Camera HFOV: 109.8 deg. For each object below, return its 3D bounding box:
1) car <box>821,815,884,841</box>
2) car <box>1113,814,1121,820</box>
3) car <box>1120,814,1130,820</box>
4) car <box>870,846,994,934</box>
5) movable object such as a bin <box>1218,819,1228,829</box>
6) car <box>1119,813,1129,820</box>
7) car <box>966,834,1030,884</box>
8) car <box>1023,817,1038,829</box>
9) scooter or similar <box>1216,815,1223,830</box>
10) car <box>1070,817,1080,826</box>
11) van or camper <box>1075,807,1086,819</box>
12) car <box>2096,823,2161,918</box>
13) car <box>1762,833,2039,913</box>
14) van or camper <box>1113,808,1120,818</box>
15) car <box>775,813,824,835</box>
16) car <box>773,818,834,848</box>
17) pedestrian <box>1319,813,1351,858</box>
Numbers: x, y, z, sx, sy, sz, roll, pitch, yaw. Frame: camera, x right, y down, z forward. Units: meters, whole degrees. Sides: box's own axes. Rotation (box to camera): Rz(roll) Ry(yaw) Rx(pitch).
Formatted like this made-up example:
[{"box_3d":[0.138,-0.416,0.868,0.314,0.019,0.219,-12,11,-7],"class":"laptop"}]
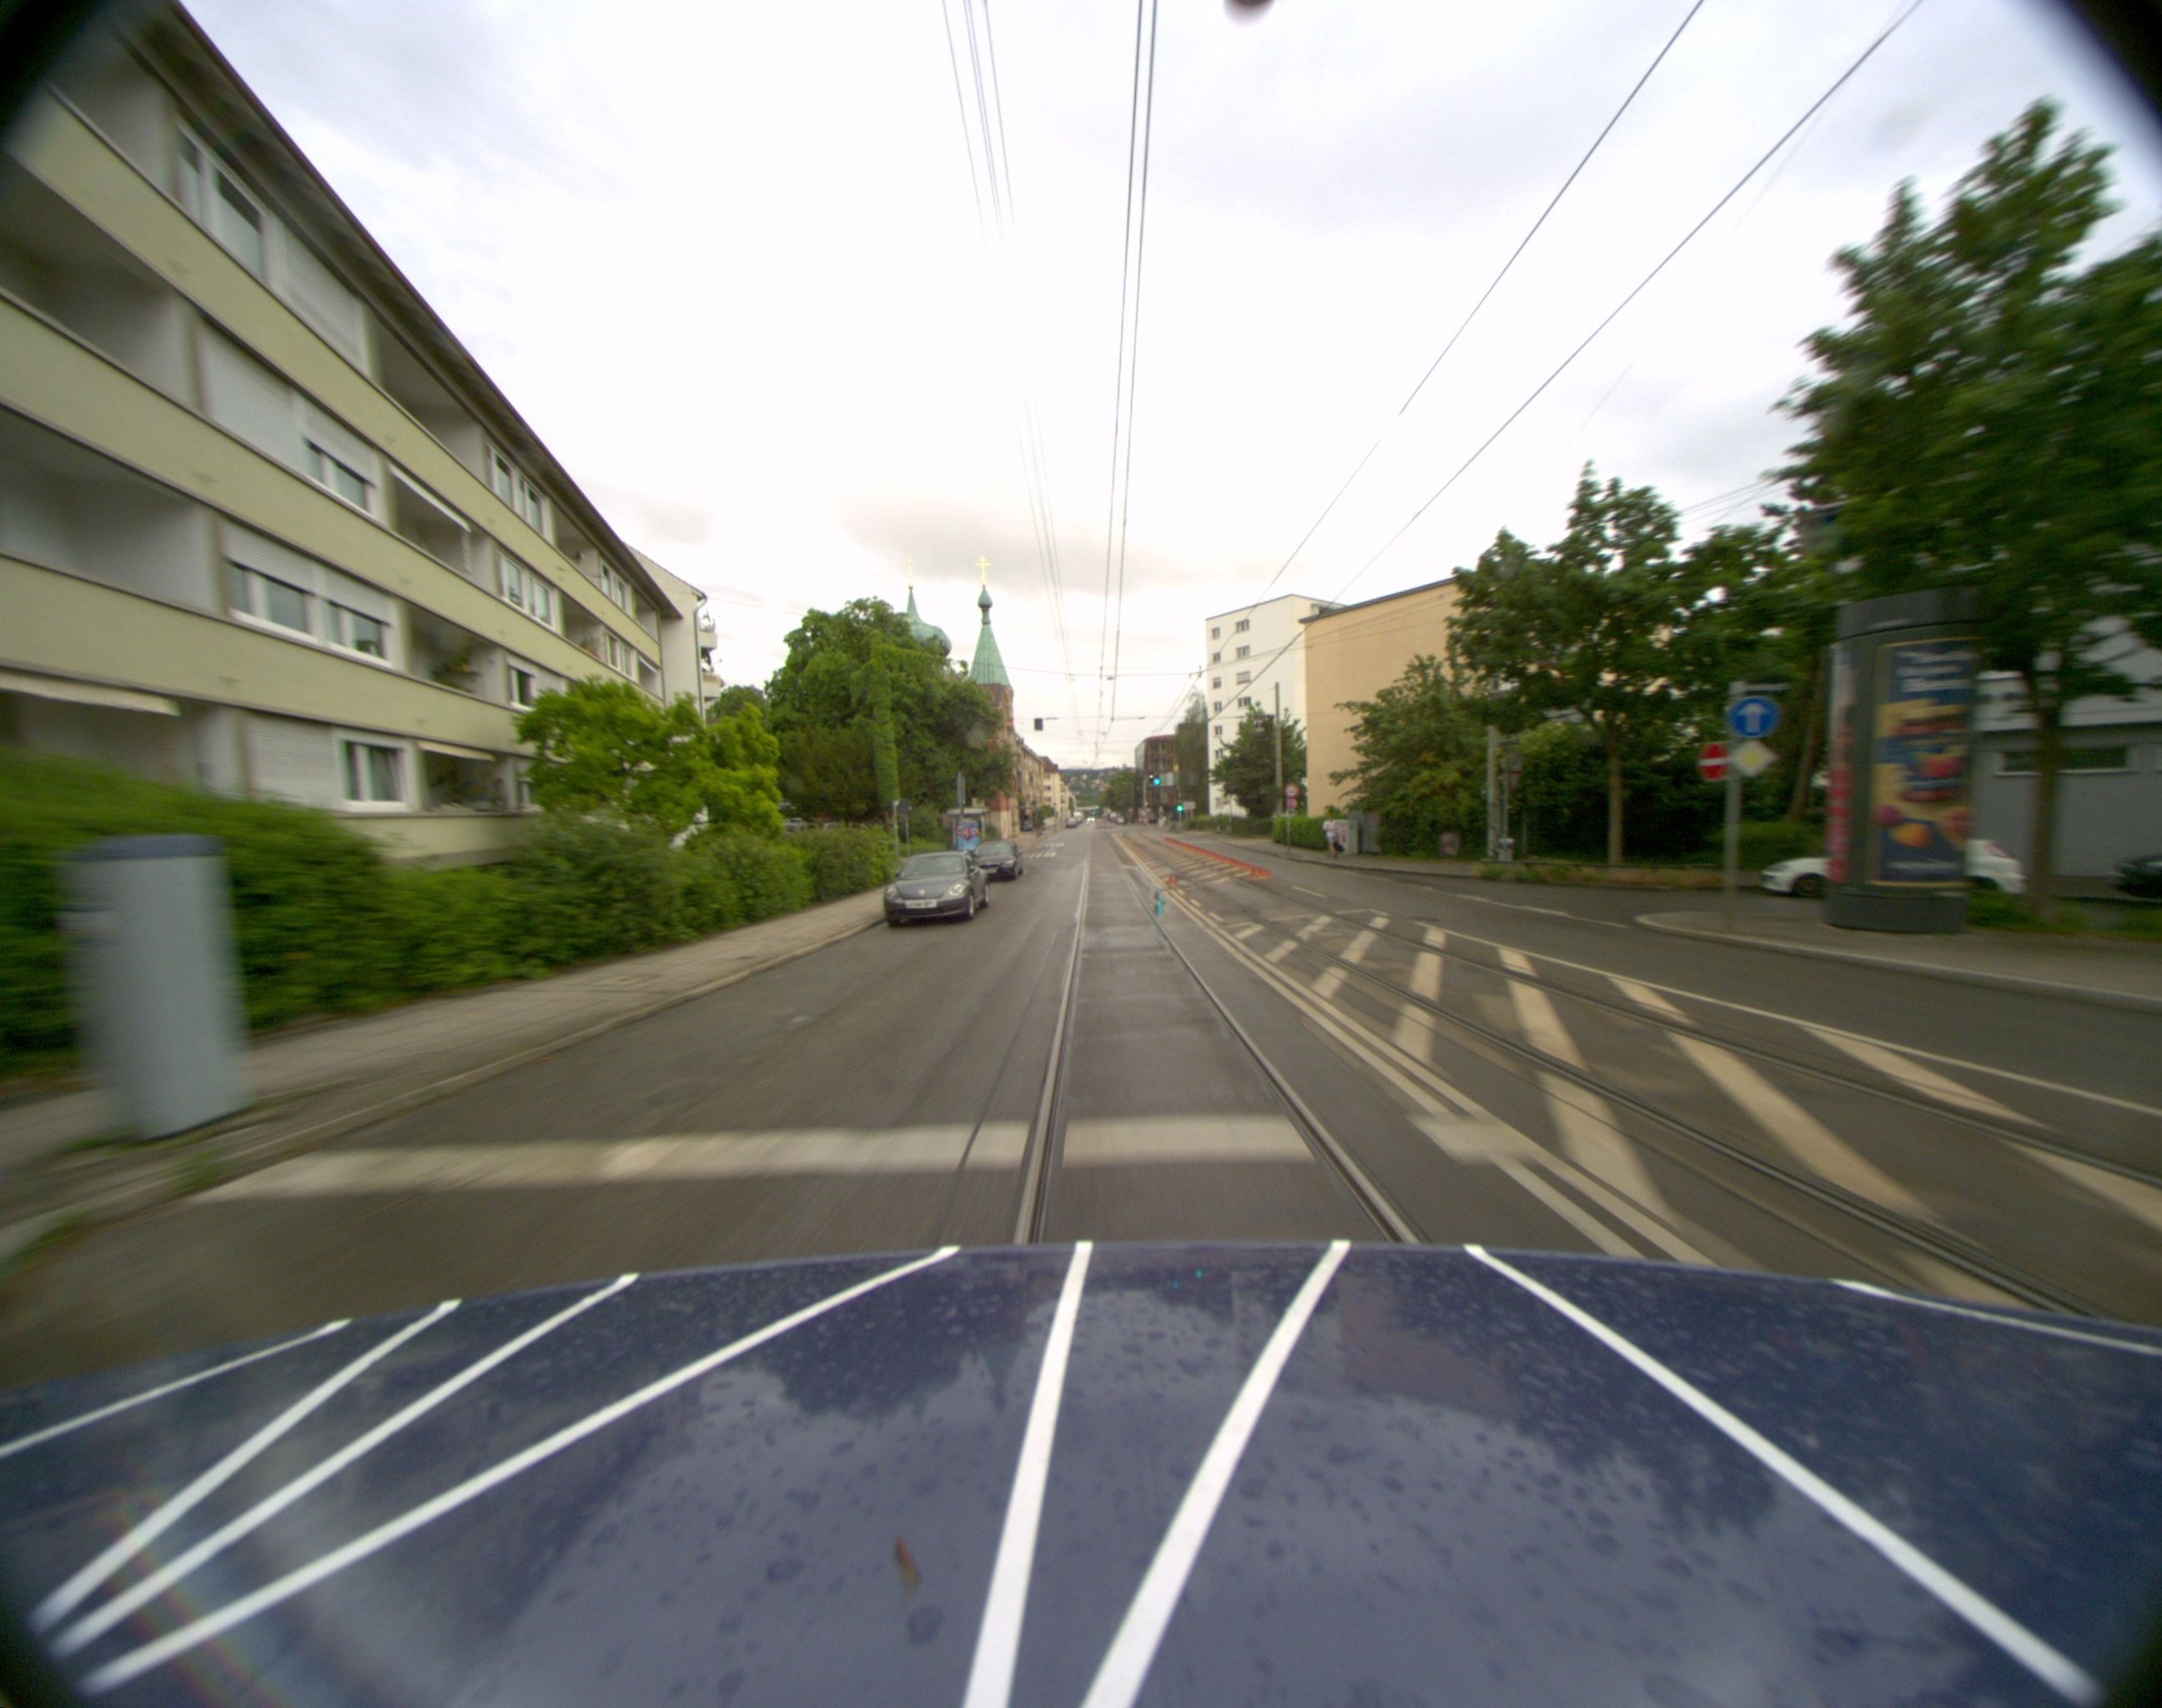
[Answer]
[{"box_3d":[-14.946,-1.690,49.624,4.371,1.550,1.845,1,6,42],"class":"car"},{"box_3d":[10.470,-10.960,222.869,1.998,1.566,3.996,-3,5,0],"class":"car"},{"box_3d":[9.956,-8.408,172.722,1.727,1.456,4.327,-1,3,-3],"class":"car"},{"box_3d":[-3.172,0.698,17.101,1.945,1.456,4.203,-3,3,-1],"class":"car"},{"box_3d":[12.973,-2.727,69.602,0.688,0.877,0.759,-3,5,-4],"class":"movable object such as a bin"},{"box_3d":[8.825,-7.715,157.226,1.862,1.387,4.642,-1,3,0],"class":"car"},{"box_3d":[-3.031,0.116,28.765,1.862,1.479,4.642,-3,3,0],"class":"car"},{"box_3d":[-7.223,-4.528,109.003,1.858,1.495,4.445,1,5,1],"class":"car"},{"box_3d":[12.366,-2.815,67.943,0.573,1.178,1.599,-2,5,8],"class":"scooter or similar"},{"box_3d":[-1.034,-6.089,140.415,1.734,1.452,4.474,-3,5,1],"class":"car"},{"box_3d":[-0.068,-11.226,209.229,2.753,3.042,7.025,-2,5,2],"class":"van or camper"},{"box_3d":[22.394,0.329,13.699,4.626,1.697,1.845,2,6,44],"class":"car"},{"box_3d":[18.715,0.334,17.622,2.003,1.473,4.148,-7,6,-43],"class":"car"},{"box_3d":[10.658,-12.343,228.601,2.143,2.589,5.546,-3,5,2],"class":"van or camper"},{"box_3d":[-21.335,-2.268,57.558,3.984,1.556,1.845,1,6,44],"class":"car"},{"box_3d":[-17.427,-1.307,47.631,4.189,1.686,1.845,1,6,44],"class":"car"},{"box_3d":[10.965,-0.806,32.811,0.921,1.836,1.016,-4,5,-4],"class":"pedestrian"}]
